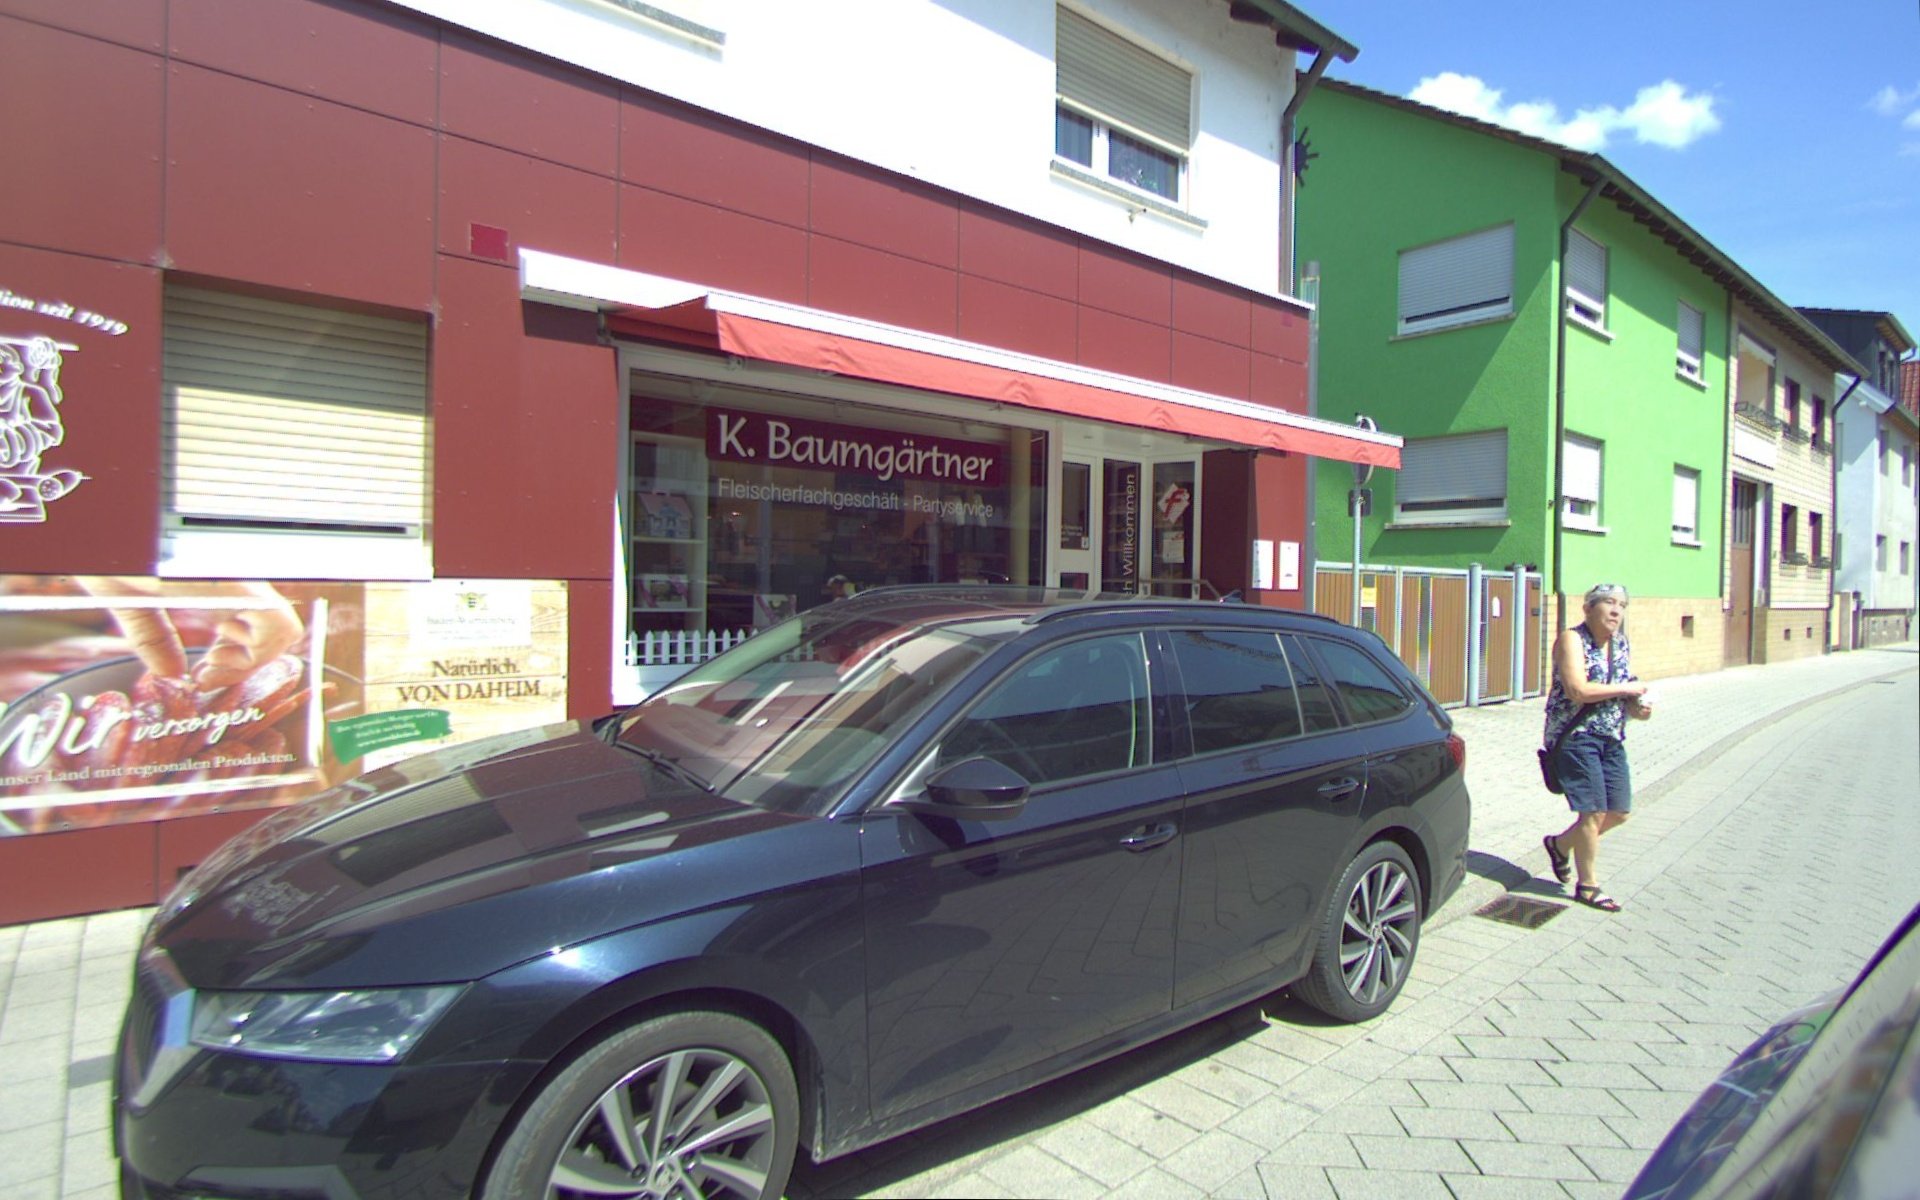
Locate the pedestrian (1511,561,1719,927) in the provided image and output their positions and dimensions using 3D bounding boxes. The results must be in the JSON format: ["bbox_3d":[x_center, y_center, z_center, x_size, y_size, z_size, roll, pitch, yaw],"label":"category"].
[{"bbox_3d":[3.244,0.653,5.087,0.740,1.661,0.726,0,0,23],"label":"pedestrian"}]

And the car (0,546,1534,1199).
[{"bbox_3d":[-0.066,0.648,3.485,4.500,1.477,1.864,0,3,-37],"label":"car"}]
